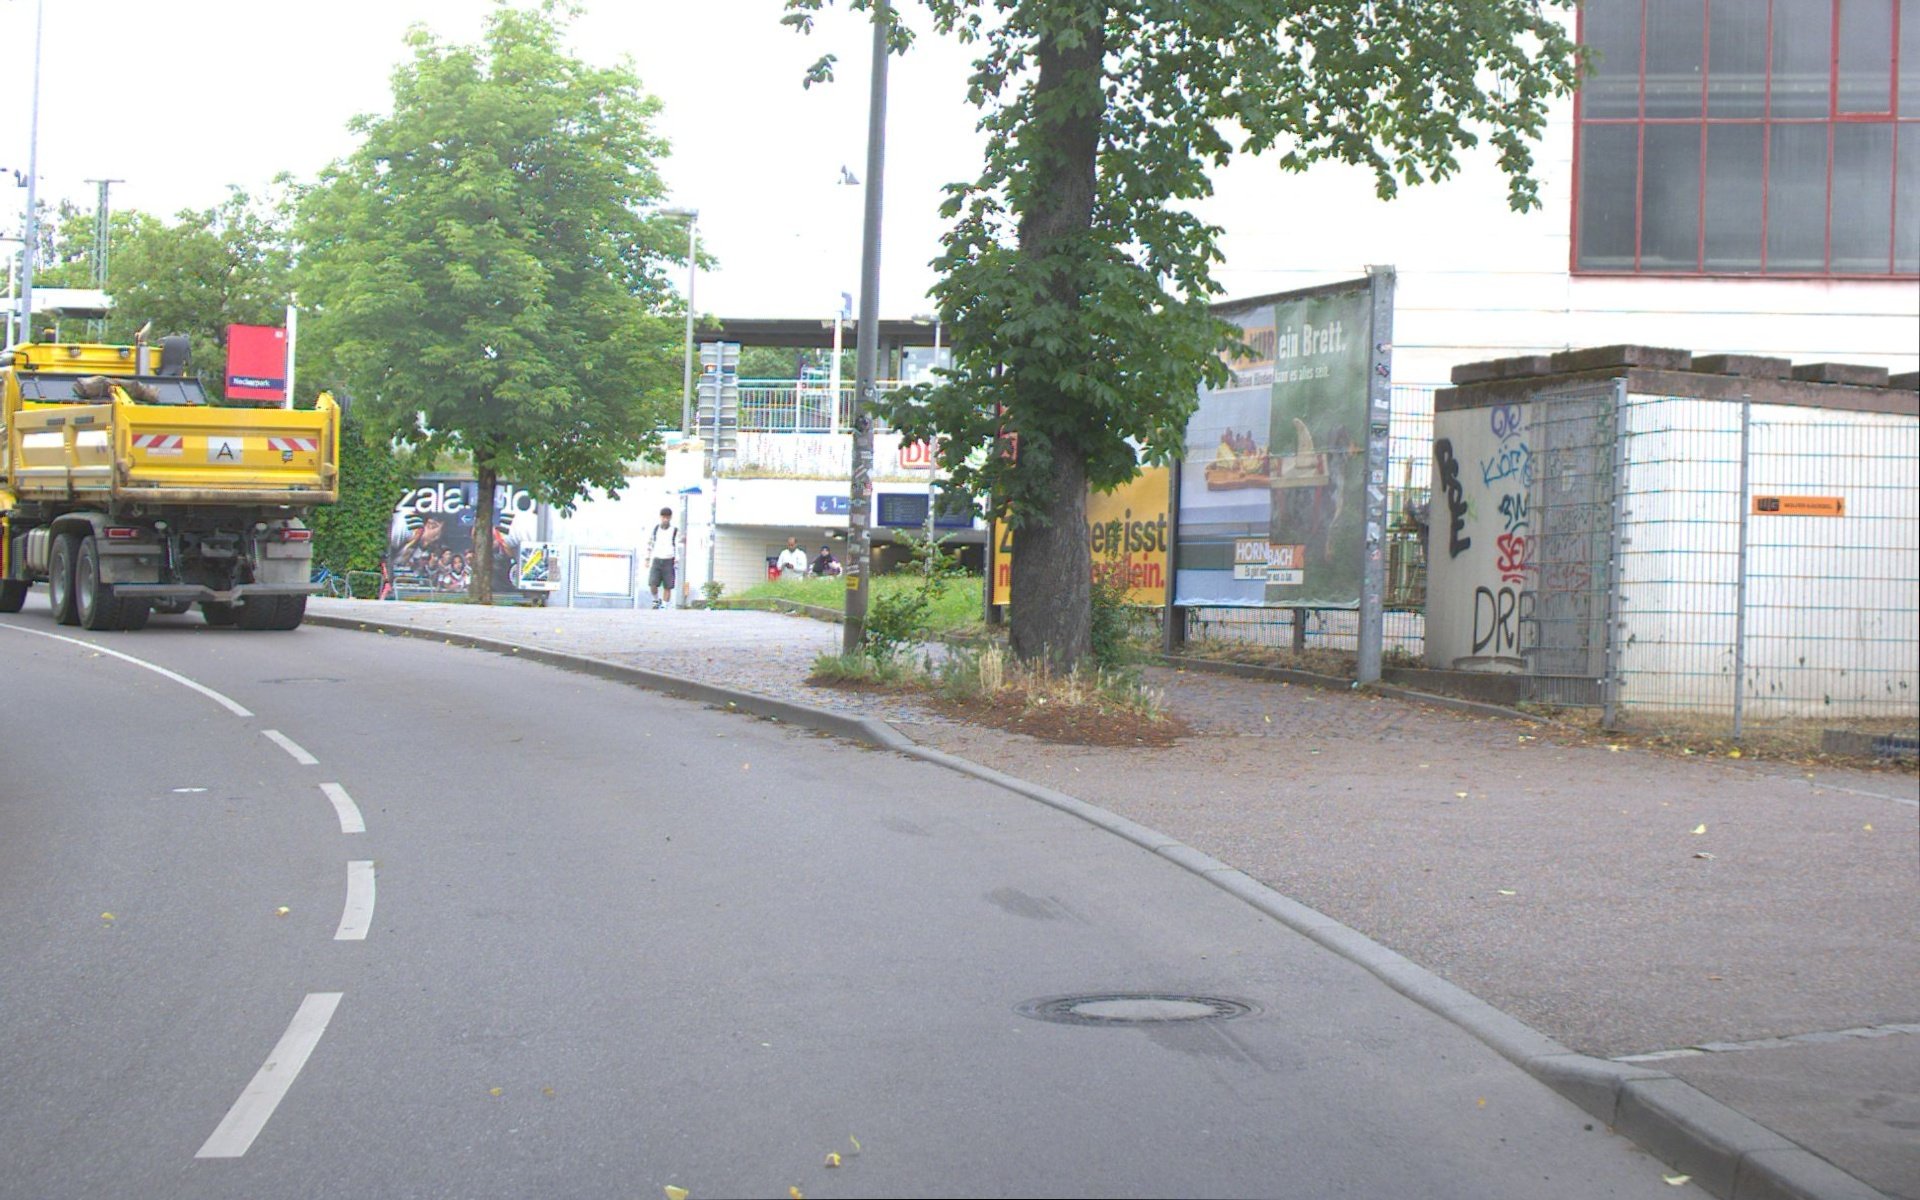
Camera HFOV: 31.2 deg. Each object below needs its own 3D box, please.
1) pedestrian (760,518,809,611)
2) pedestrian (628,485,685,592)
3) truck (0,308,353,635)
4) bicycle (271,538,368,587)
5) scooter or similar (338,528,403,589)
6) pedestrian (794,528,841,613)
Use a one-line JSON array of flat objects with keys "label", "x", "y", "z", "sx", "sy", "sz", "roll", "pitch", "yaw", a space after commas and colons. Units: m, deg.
[{"label": "pedestrian", "x": -3.245, "y": -0.655, "z": 63.685, "sx": 0.814, "sy": 1.697, "sz": 0.749, "roll": 2, "pitch": -1, "yaw": 1}, {"label": "pedestrian", "x": -4.874, "y": -0.979, "z": 55.253, "sx": 0.848, "sy": 1.678, "sz": 0.940, "roll": 1, "pitch": -1, "yaw": -3}, {"label": "truck", "x": -9.986, "y": -1.624, "z": 41.697, "sx": 2.764, "sy": 3.471, "sz": 8.131, "roll": 2, "pitch": 2, "yaw": -27}, {"label": "bicycle", "x": -13.804, "y": -0.799, "z": 74.139, "sx": 1.966, "sy": 0.862, "sz": 0.511, "roll": 6, "pitch": -2, "yaw": -38}, {"label": "scooter or similar", "x": -12.559, "y": -0.878, "z": 73.250, "sx": 1.187, "sy": 1.202, "sz": 0.468, "roll": 5, "pitch": -1, "yaw": -35}, {"label": "pedestrian", "x": -2.708, "y": -0.551, "z": 65.258, "sx": 0.799, "sy": 1.578, "sz": 0.802, "roll": 2, "pitch": -1, "yaw": 1}]
